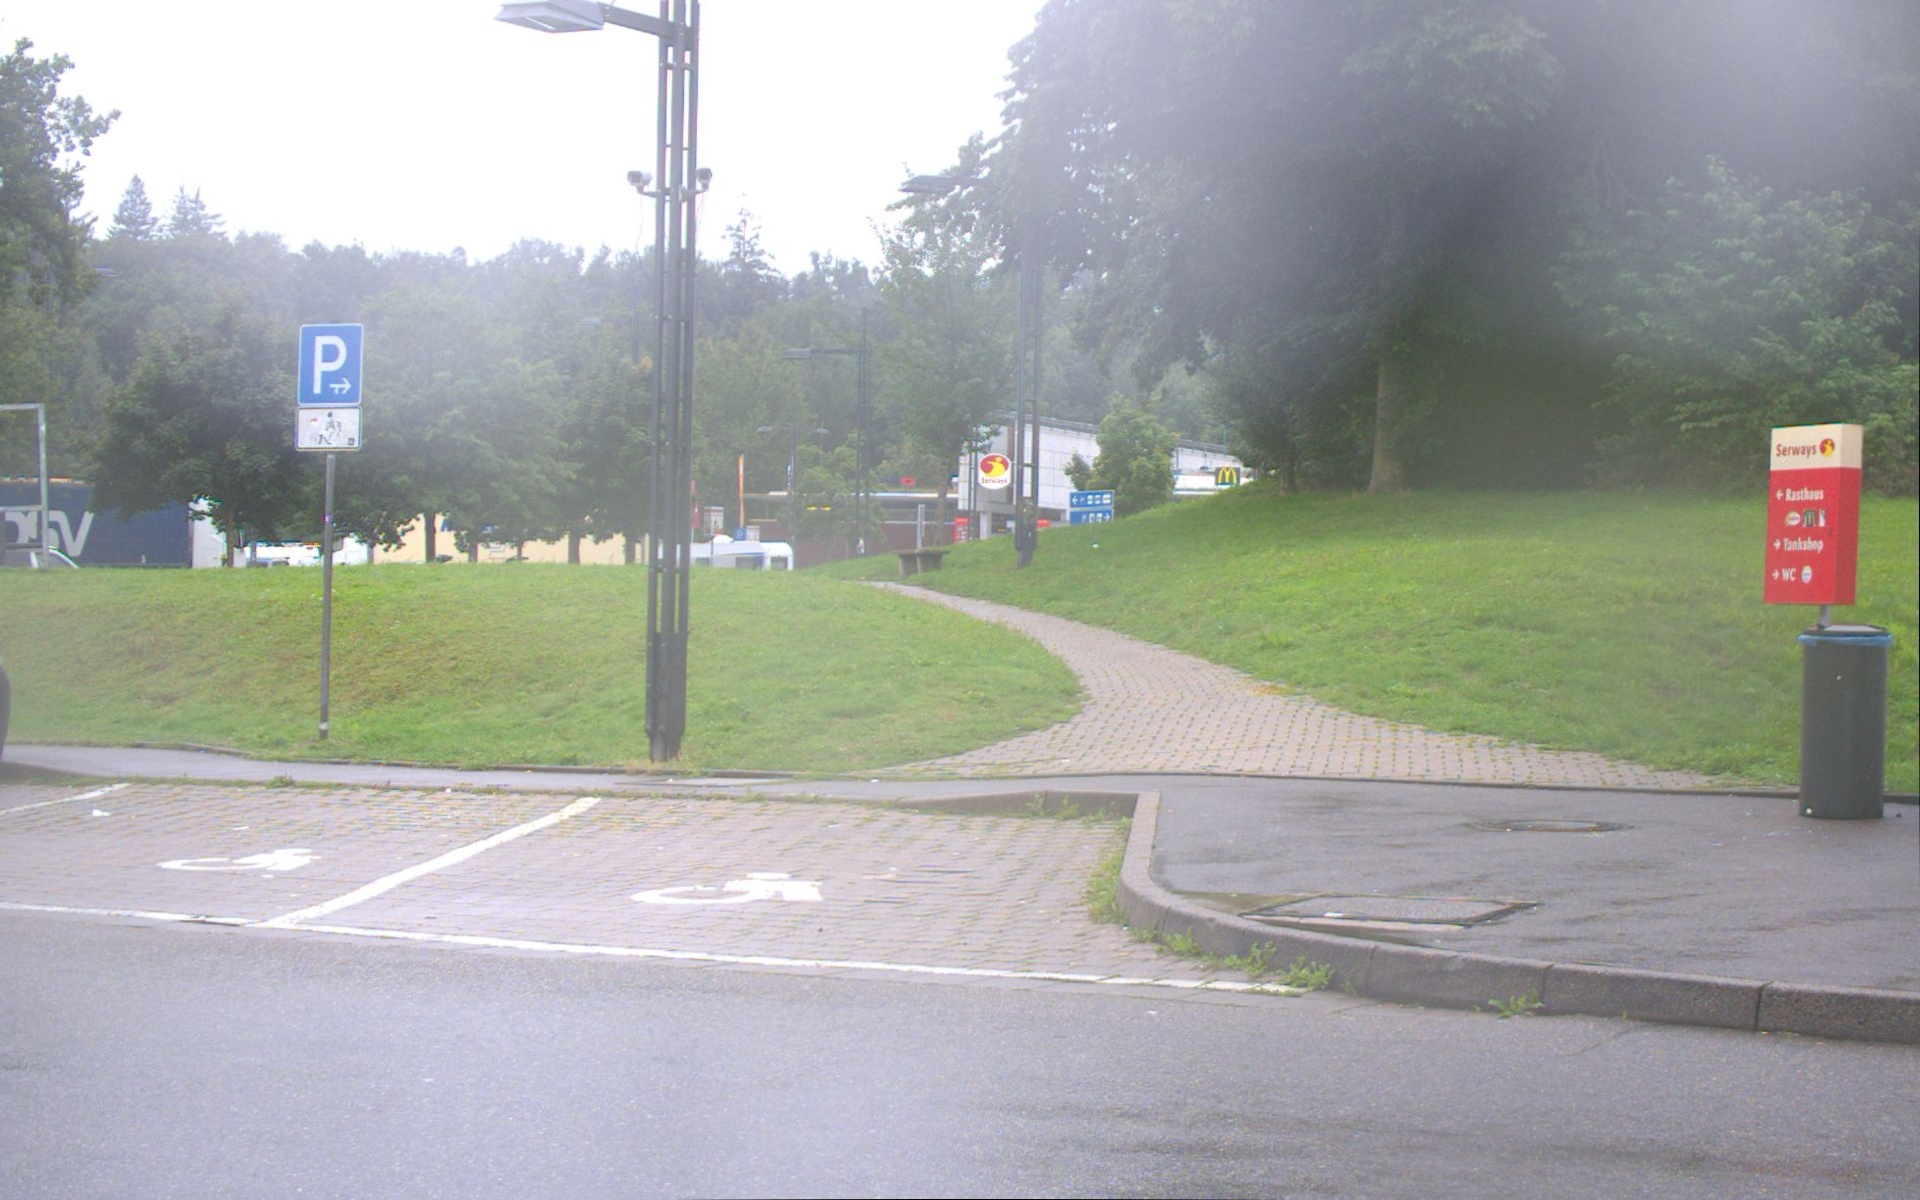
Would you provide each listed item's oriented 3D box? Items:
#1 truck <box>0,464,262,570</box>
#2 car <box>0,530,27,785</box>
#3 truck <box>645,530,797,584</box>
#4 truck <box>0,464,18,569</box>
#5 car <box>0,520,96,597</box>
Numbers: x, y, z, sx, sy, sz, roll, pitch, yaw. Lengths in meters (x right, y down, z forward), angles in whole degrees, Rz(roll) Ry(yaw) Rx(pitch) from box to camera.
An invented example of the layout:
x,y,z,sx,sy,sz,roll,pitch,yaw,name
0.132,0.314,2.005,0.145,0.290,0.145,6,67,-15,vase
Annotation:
x,y,z,sx,sy,sz,roll,pitch,yaw,name
-25.460,-2.375,101.635,2.188,2.910,13.082,1,1,24,truck
-7.799,0.452,21.498,2.018,1.705,4.341,-1,1,12,car
-9.322,-1.676,133.813,5.413,2.007,2.364,1,1,25,truck
-28.599,-2.349,94.666,2.189,2.910,5.380,1,1,24,truck
-22.742,-0.986,81.216,4.124,1.777,1.844,0,1,-36,car
